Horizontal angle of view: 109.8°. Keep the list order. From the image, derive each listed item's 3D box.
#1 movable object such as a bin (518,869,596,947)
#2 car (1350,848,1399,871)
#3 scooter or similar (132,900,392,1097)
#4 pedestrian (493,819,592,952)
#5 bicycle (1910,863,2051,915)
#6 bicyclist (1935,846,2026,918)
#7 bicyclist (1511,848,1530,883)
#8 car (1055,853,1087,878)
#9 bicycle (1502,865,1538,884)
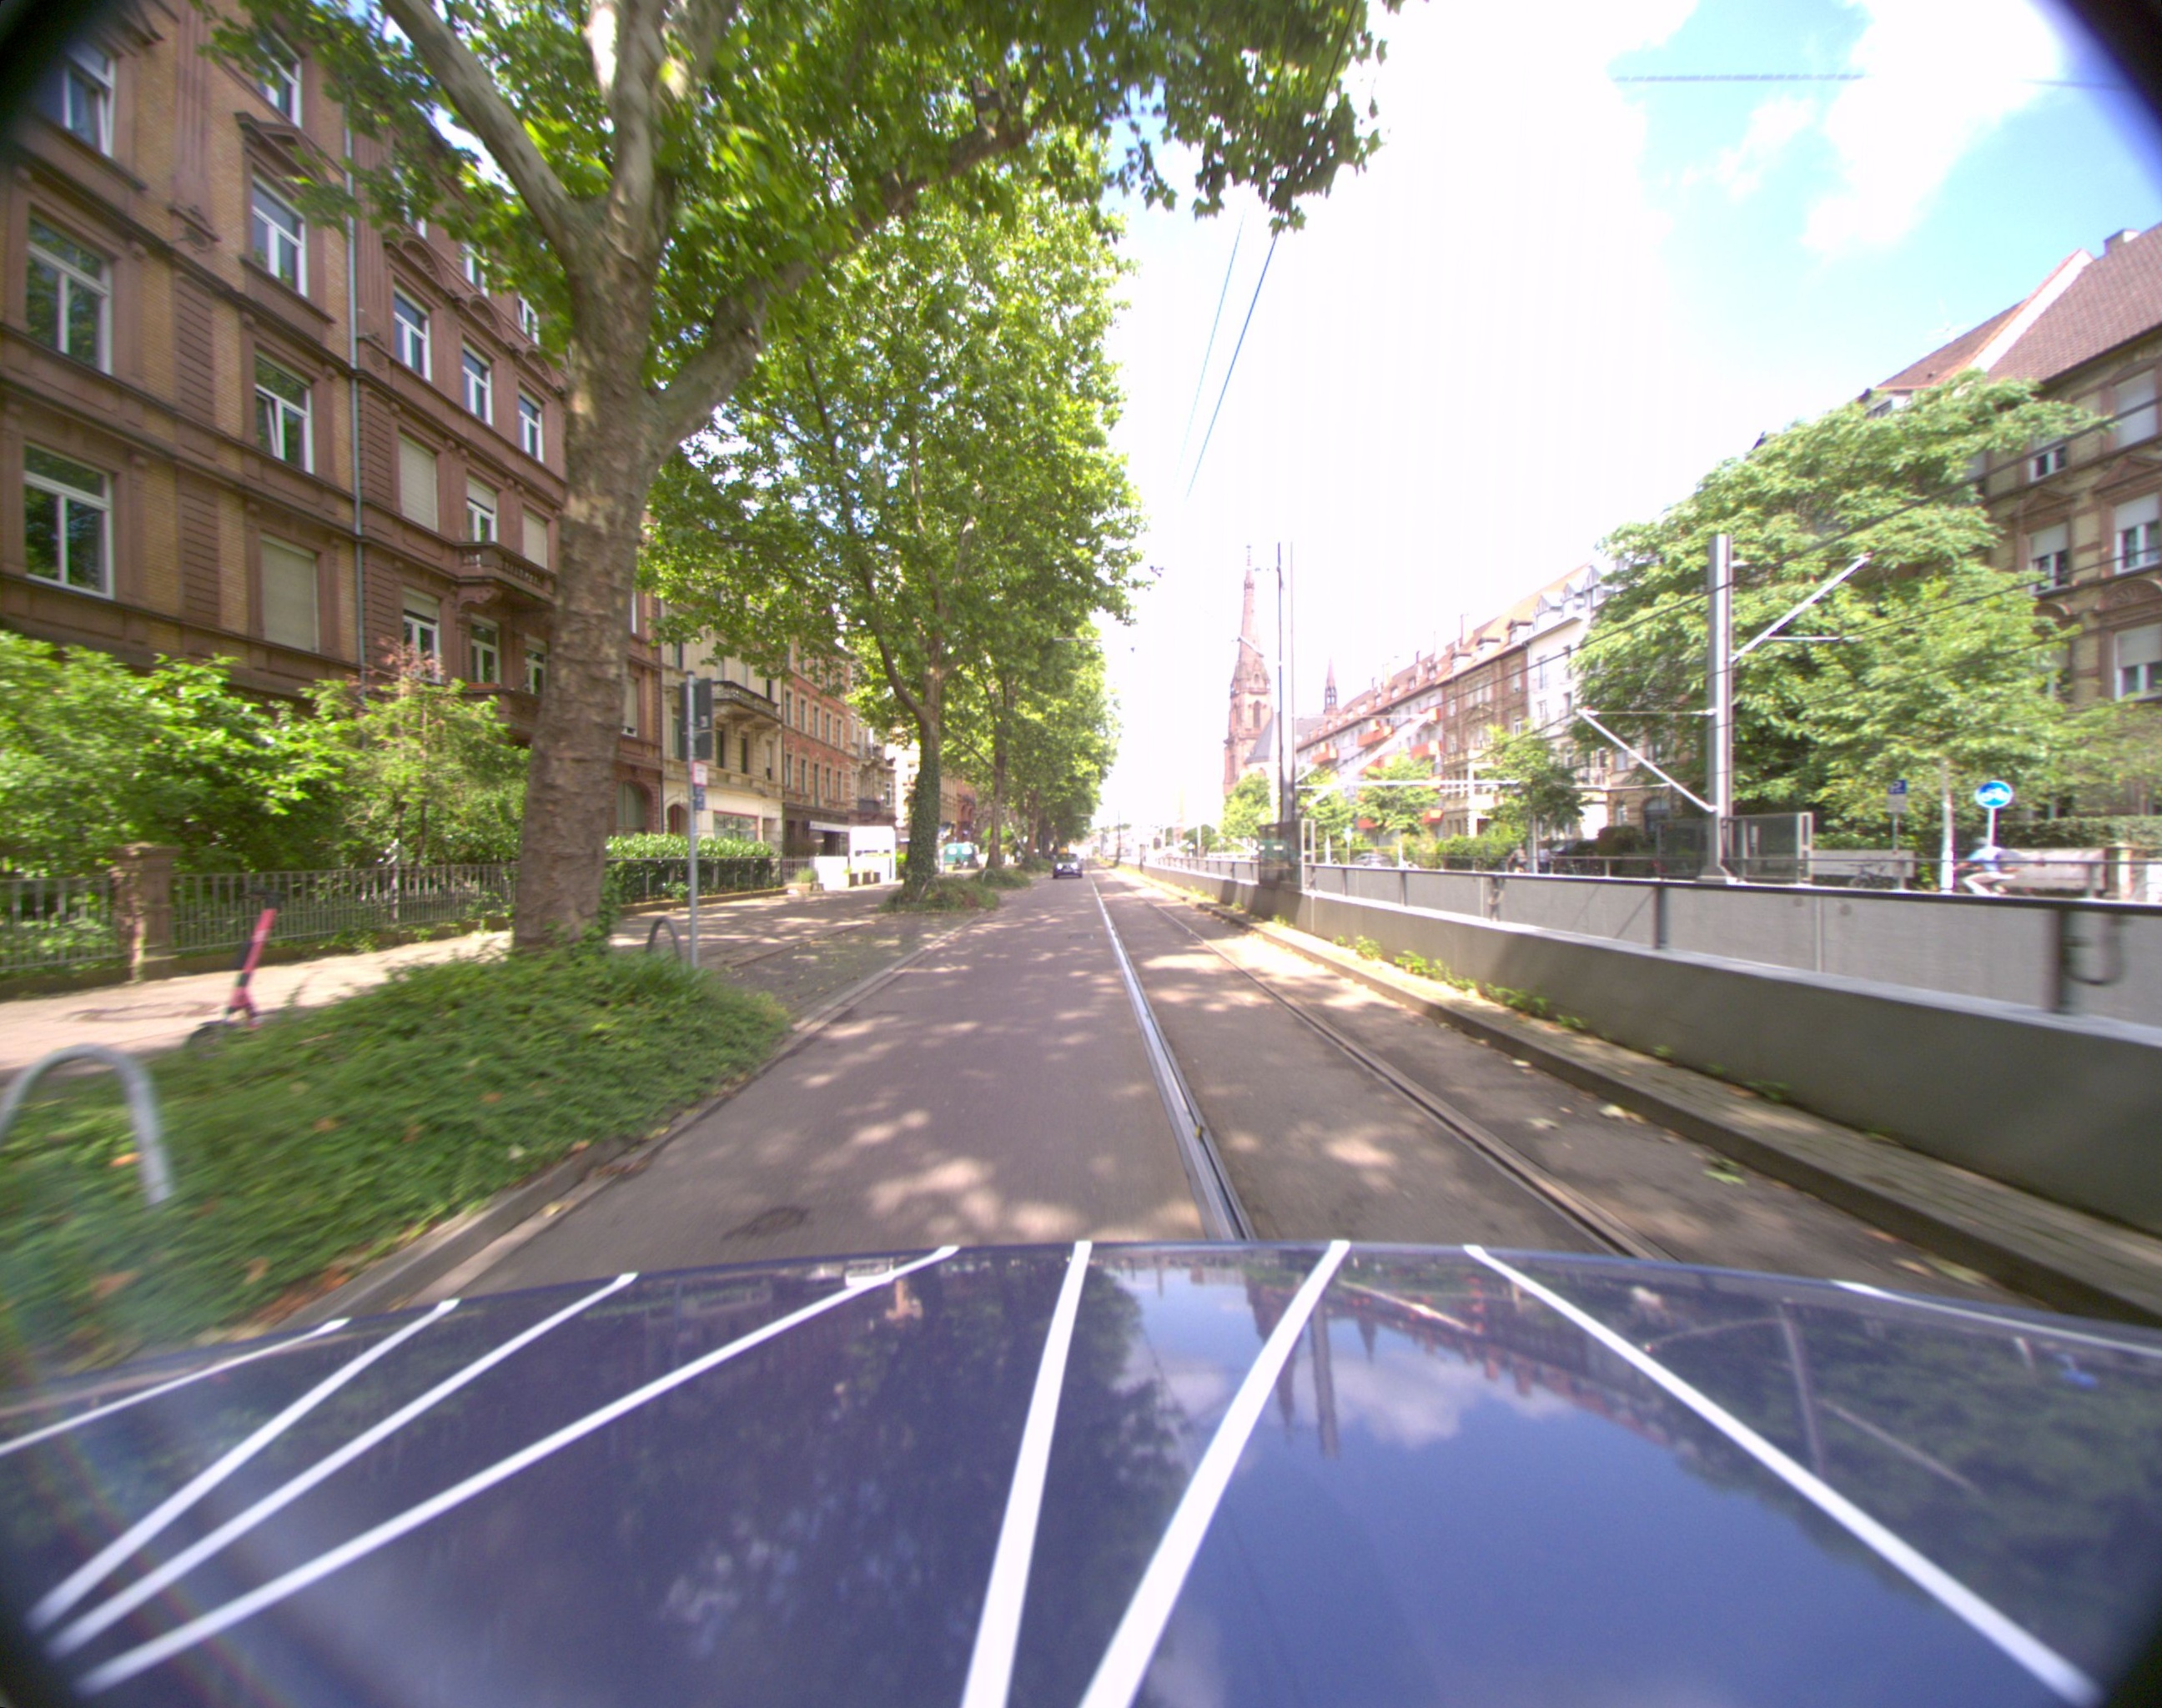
[{"bbox_3d":[-8.715,0.878,12.684,0.609,1.202,1.058,2,1,-5],"label":"movable object such as a bin"},{"bbox_3d":[21.261,0.372,55.223,1.998,1.628,4.113,0,0,0],"label":"car"},{"bbox_3d":[-5.959,0.990,5.635,0.468,1.204,1.323,0,0,0],"label":"scooter or similar"},{"bbox_3d":[-8.531,0.478,12.093,0.766,2.002,1.119,2,0,-4],"label":"pedestrian"},{"bbox_3d":[18.990,0.705,16.112,0.727,0.990,1.898,1,0,0],"label":"bicycle"},{"bbox_3d":[19.002,0.574,16.075,0.740,1.470,0.978,1,1,0],"label":"bicyclist"},{"bbox_3d":[19.137,0.490,33.089,0.505,1.535,0.607,0,1,0],"label":"bicyclist"},{"bbox_3d":[-0.583,0.688,47.550,1.799,1.454,4.567,0,0,1],"label":"car"},{"bbox_3d":[19.118,0.878,33.113,0.497,0.764,1.816,0,1,0],"label":"bicycle"}]
